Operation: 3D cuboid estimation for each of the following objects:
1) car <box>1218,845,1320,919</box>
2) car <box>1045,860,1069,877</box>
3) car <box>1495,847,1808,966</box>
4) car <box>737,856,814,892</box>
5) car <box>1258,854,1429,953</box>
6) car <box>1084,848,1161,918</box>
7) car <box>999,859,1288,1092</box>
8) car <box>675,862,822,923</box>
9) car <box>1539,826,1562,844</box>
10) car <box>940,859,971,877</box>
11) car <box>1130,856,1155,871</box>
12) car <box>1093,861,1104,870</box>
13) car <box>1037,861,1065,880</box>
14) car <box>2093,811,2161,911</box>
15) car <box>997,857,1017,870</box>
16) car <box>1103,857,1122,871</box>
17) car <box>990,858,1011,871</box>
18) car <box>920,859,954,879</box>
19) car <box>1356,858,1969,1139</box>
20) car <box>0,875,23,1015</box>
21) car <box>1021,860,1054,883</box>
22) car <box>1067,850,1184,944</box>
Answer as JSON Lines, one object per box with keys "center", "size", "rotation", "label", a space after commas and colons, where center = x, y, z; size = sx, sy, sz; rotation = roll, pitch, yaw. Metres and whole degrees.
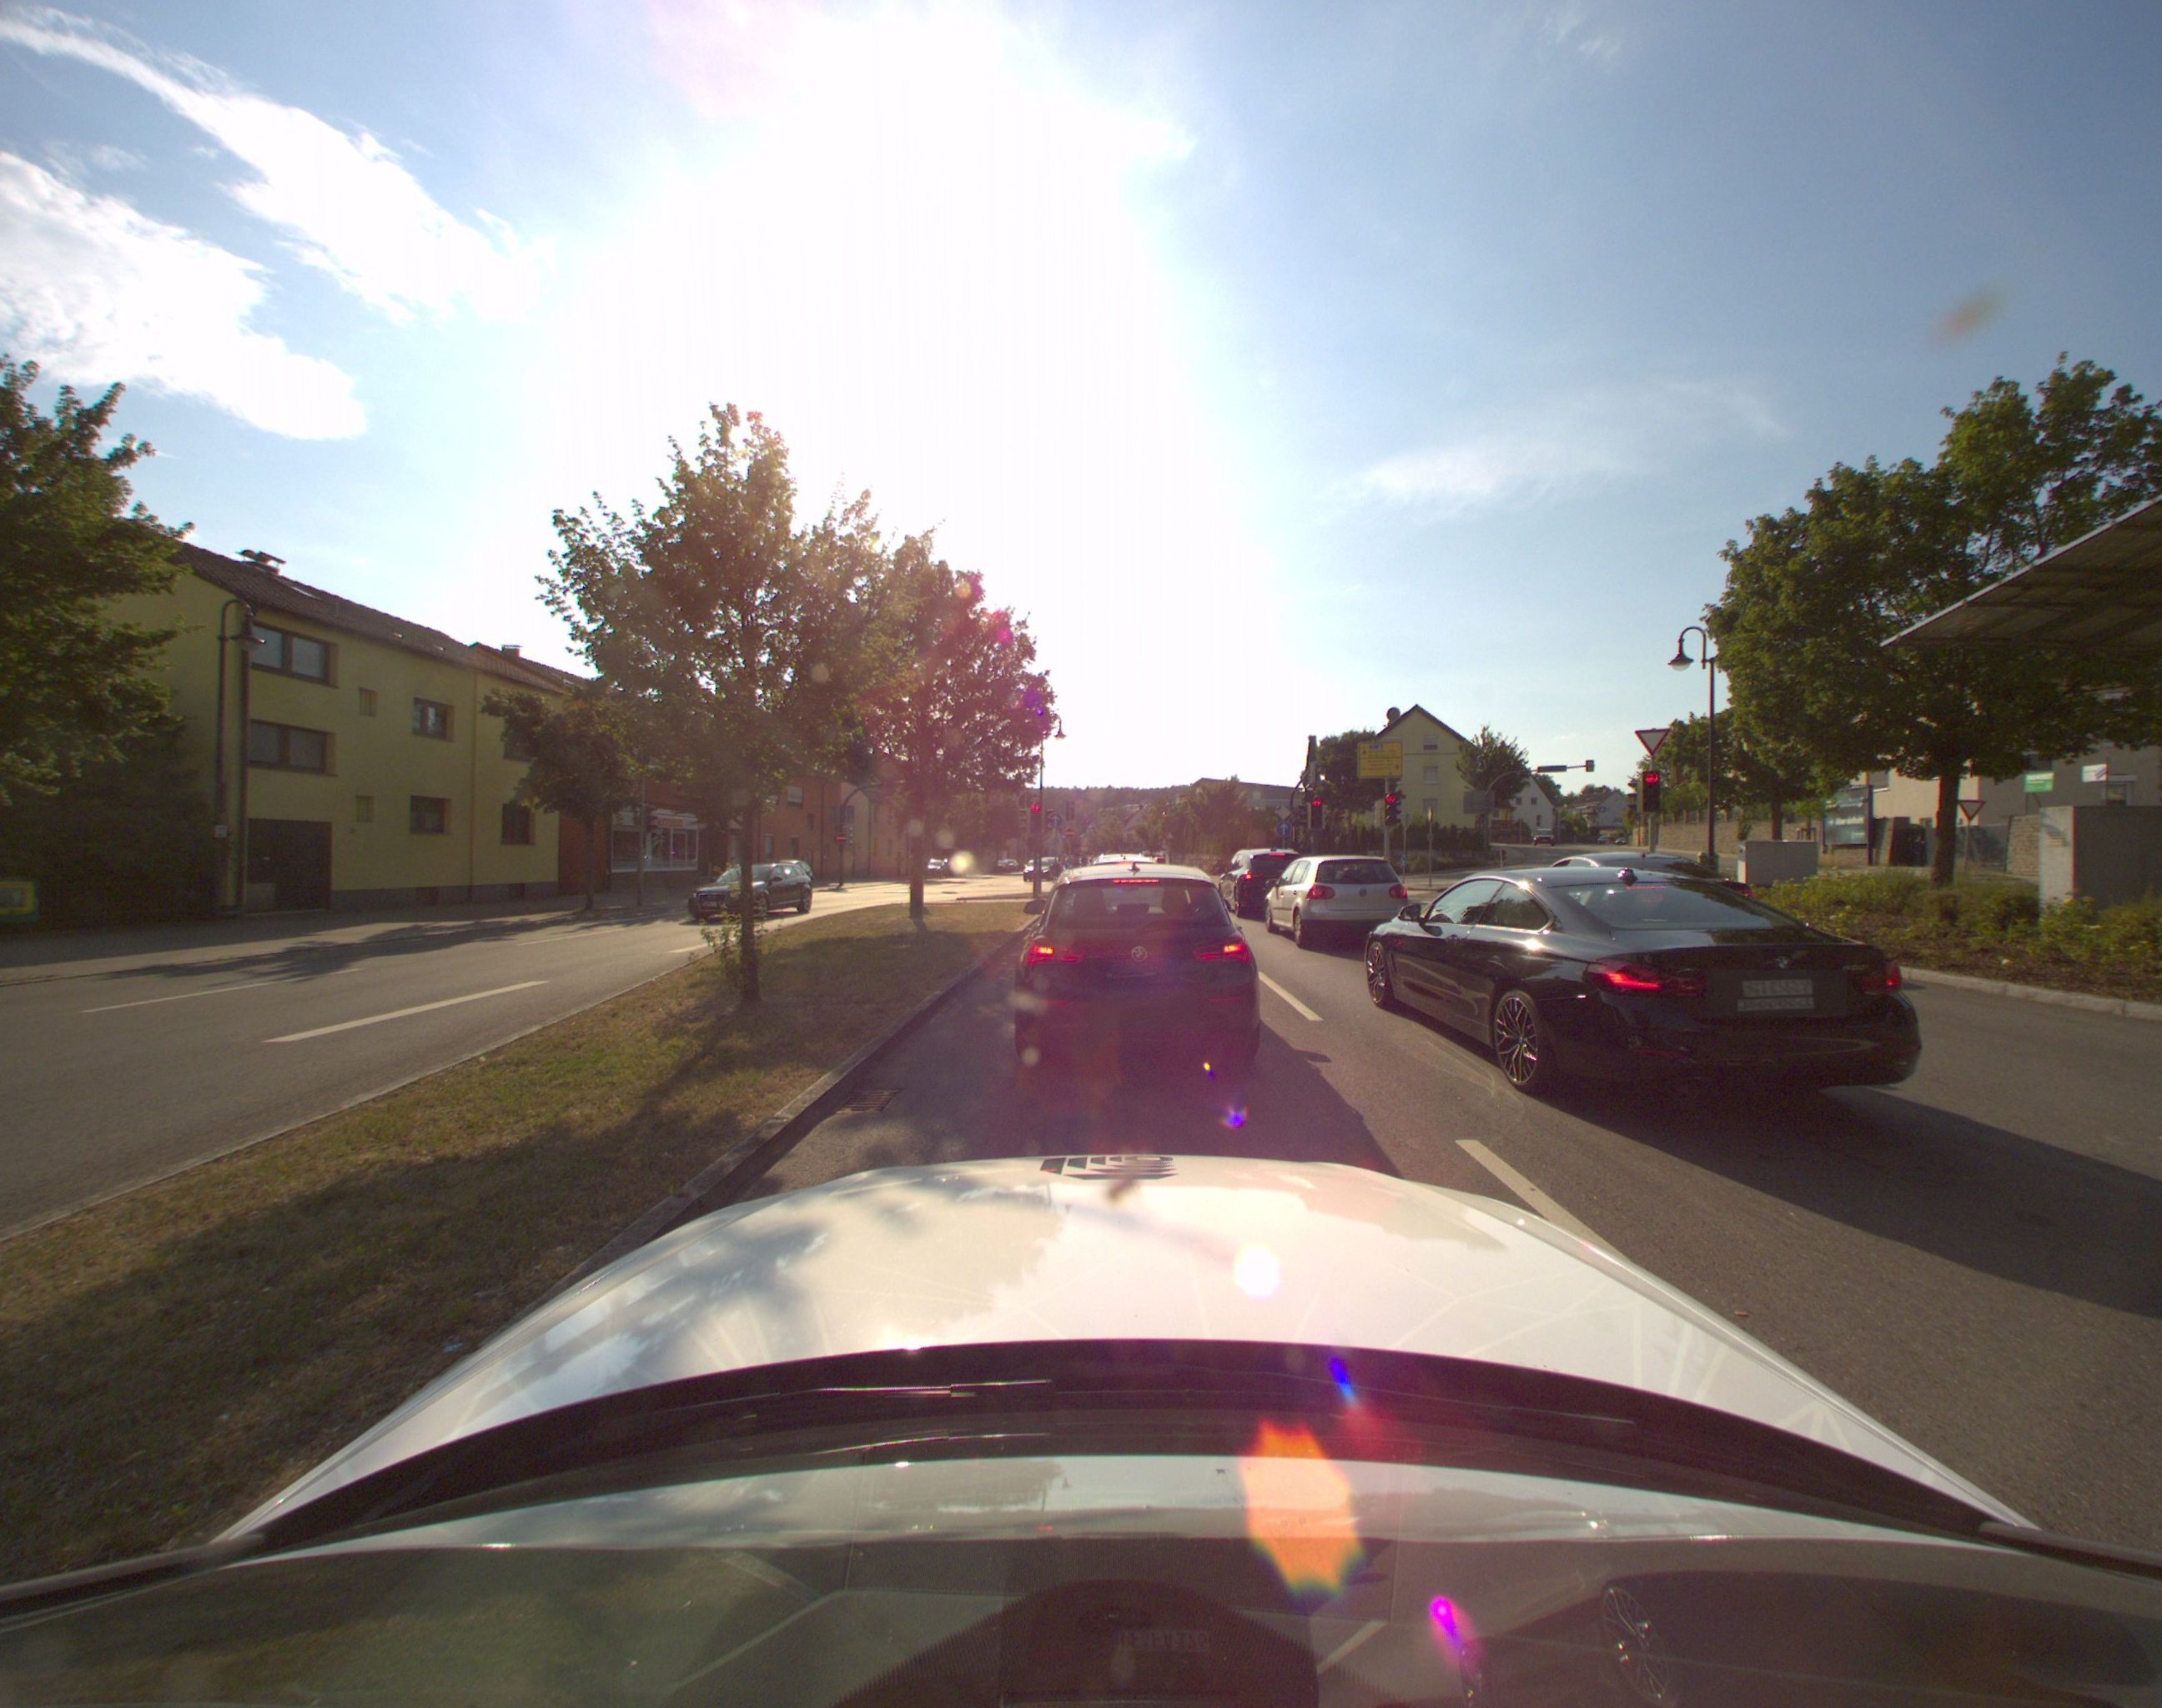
{"center": [4.610, 0.632, 20.614], "size": [1.808, 1.666, 4.351], "rotation": [-1, 0, 3], "label": "car"}
{"center": [-2.002, 1.240, 69.831], "size": [1.685, 1.353, 4.004], "rotation": [0, 0, 4], "label": "car"}
{"center": [8.083, 0.639, 12.180], "size": [1.674, 1.435, 4.593], "rotation": [-1, 0, 3], "label": "car"}
{"center": [-14.355, 0.901, 38.514], "size": [1.835, 1.552, 4.005], "rotation": [2, 0, 5], "label": "car"}
{"center": [4.339, 0.728, 14.180], "size": [1.808, 1.446, 4.351], "rotation": [-1, 0, 3], "label": "car"}
{"center": [1.108, 0.698, 21.528], "size": [1.808, 1.641, 4.245], "rotation": [-1, 0, 3], "label": "car"}
{"center": [0.511, 0.773, 7.243], "size": [1.783, 1.414, 4.351], "rotation": [-1, 0, 3], "label": "car"}
{"center": [-8.578, 0.932, 21.441], "size": [1.635, 1.386, 4.199], "rotation": [0, 0, 8], "label": "car"}
{"center": [43.173, -1.779, 74.898], "size": [1.769, 1.506, 4.096], "rotation": [0, 4, 29], "label": "car"}
{"center": [-11.379, 1.255, 73.926], "size": [1.916, 1.596, 4.004], "rotation": [0, 0, 4], "label": "car"}
{"center": [6.257, 0.946, 83.501], "size": [1.858, 1.485, 4.652], "rotation": [0, 0, -4], "label": "car"}
{"center": [3.088, 2.045, 143.261], "size": [1.917, 1.596, 4.002], "rotation": [0, 0, 2], "label": "car"}
{"center": [-2.282, 1.238, 62.932], "size": [1.685, 1.353, 4.004], "rotation": [0, 0, 4], "label": "car"}
{"center": [19.260, 0.097, 12.758], "size": [3.958, 1.608, 1.861], "rotation": [0, 0, 14], "label": "car"}
{"center": [-9.351, 1.247, 103.612], "size": [1.916, 1.596, 4.004], "rotation": [0, 0, 4], "label": "car"}
{"center": [3.992, 1.308, 104.162], "size": [1.887, 1.702, 4.518], "rotation": [-2, 0, -4], "label": "car"}
{"center": [-9.655, 1.246, 98.110], "size": [1.916, 1.596, 4.004], "rotation": [0, 0, 4], "label": "car"}
{"center": [-11.960, 1.251, 67.904], "size": [1.916, 1.596, 4.004], "rotation": [0, 0, 4], "label": "car"}
{"center": [3.653, 0.740, 6.280], "size": [1.808, 1.388, 4.351], "rotation": [-1, 0, 3], "label": "car"}
{"center": [-12.033, 0.937, 6.190], "size": [1.836, 1.422, 4.646], "rotation": [0, 0, 2], "label": "car"}
{"center": [-2.951, 1.184, 55.547], "size": [1.759, 1.458, 4.004], "rotation": [0, 0, 4], "label": "car"}
{"center": [0.814, 0.672, 14.808], "size": [1.808, 1.451, 4.245], "rotation": [-1, 0, 3], "label": "car"}
